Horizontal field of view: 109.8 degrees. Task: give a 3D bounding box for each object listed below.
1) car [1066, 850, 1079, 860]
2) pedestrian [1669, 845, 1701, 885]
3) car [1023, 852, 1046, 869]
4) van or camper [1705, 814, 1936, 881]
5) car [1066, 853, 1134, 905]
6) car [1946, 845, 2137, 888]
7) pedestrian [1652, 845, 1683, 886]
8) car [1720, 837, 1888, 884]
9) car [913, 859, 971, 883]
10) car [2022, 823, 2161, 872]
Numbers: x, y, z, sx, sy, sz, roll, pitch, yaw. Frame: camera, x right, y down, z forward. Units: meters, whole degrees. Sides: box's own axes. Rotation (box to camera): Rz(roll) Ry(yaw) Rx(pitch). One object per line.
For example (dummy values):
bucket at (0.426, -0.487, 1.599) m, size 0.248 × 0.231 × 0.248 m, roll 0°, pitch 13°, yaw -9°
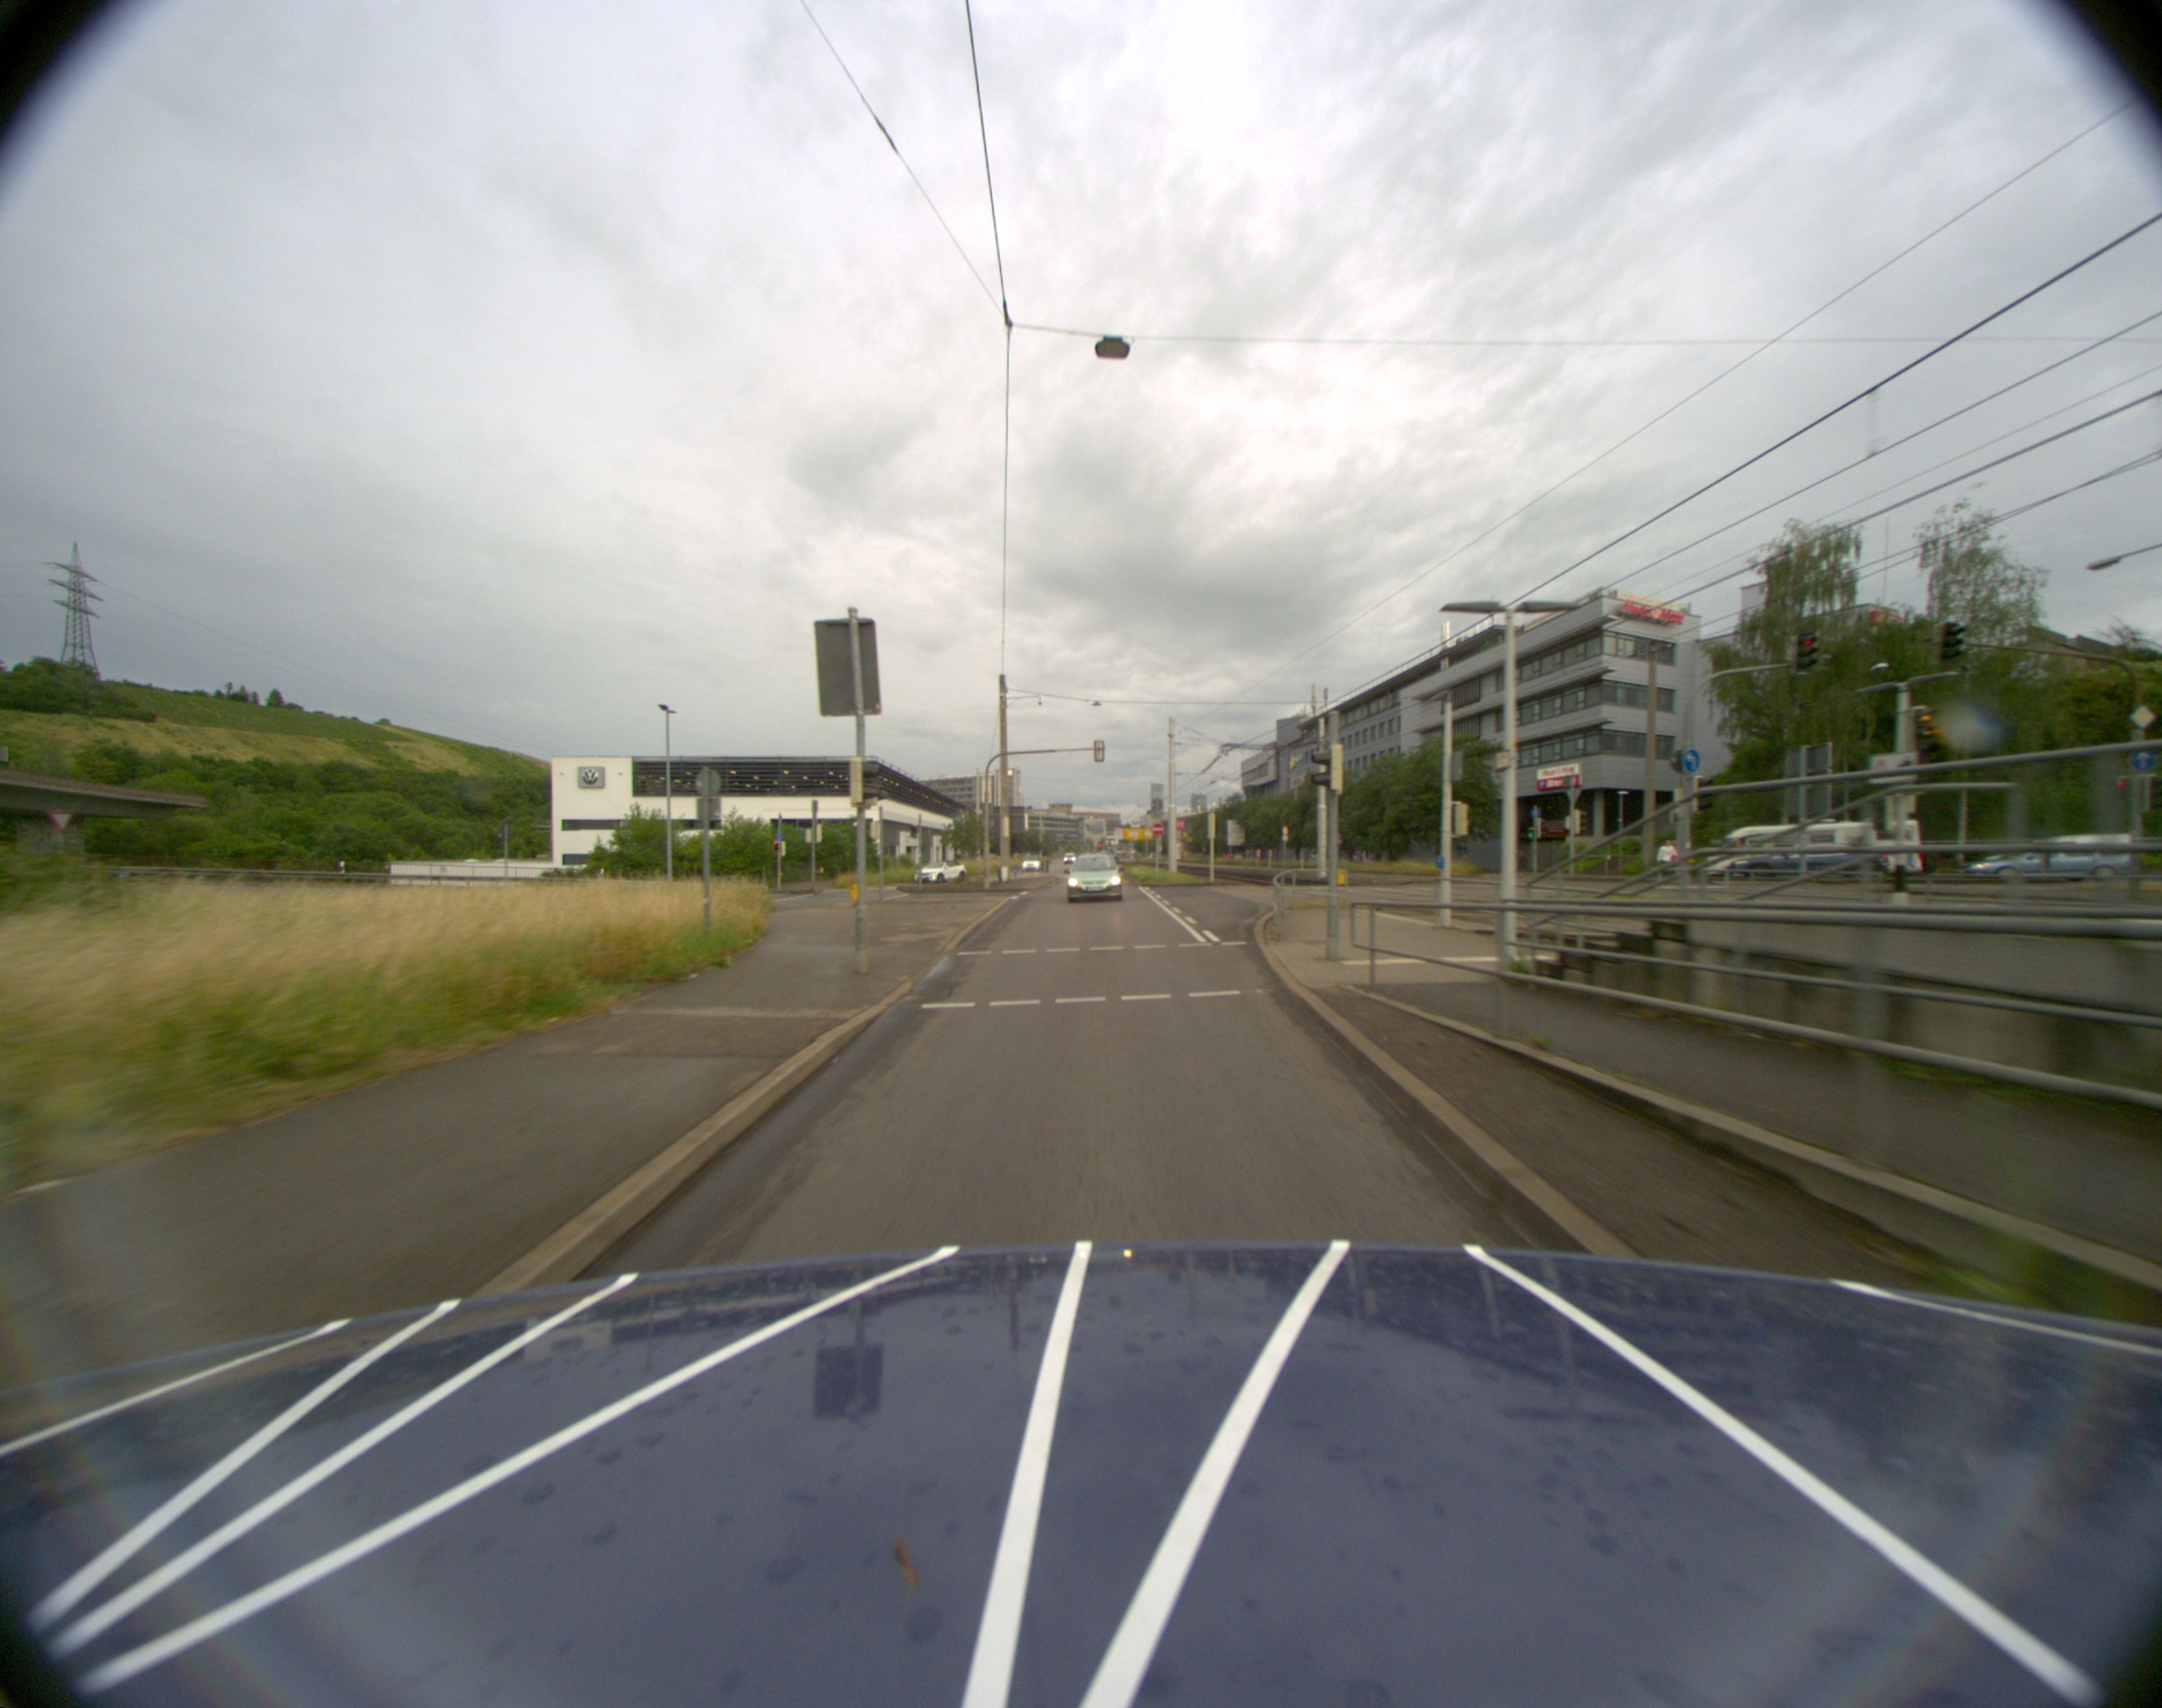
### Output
car at (-1.377, 0.168, 123.031) m, size 1.993 × 1.531 × 4.109 m, roll -1°, pitch 1°, yaw 0°
pedestrian at (26.775, 0.479, 33.692) m, size 0.748 × 1.775 × 0.813 m, roll -1°, pitch 0°, yaw 1°
car at (-4.611, 0.634, 76.175) m, size 1.993 × 1.531 × 4.109 m, roll -1°, pitch 1°, yaw 1°
van or camper at (35.676, -0.266, 37.134) m, size 7.743 × 2.867 × 2.304 m, roll -2°, pitch 1°, yaw 33°
car at (0.708, 0.757, 25.138) m, size 1.779 × 1.493 × 4.002 m, roll 0°, pitch 1°, yaw 8°
car at (38.415, 0.513, 30.571) m, size 4.324 × 1.499 × 2.003 m, roll -2°, pitch 1°, yaw 30°
pedestrian at (26.012, 0.519, 33.684) m, size 0.748 × 1.775 × 0.813 m, roll -1°, pitch 0°, yaw 1°
car at (32.244, 0.316, 34.124) m, size 5.157 × 1.869 × 2.003 m, roll -2°, pitch 1°, yaw 34°
car at (-9.672, 1.163, 53.345) m, size 2.036 × 1.531 × 4.116 m, roll -1°, pitch 1°, yaw 23°
car at (43.990, -0.271, 32.434) m, size 4.325 × 1.869 × 2.003 m, roll -3°, pitch 1°, yaw 23°
